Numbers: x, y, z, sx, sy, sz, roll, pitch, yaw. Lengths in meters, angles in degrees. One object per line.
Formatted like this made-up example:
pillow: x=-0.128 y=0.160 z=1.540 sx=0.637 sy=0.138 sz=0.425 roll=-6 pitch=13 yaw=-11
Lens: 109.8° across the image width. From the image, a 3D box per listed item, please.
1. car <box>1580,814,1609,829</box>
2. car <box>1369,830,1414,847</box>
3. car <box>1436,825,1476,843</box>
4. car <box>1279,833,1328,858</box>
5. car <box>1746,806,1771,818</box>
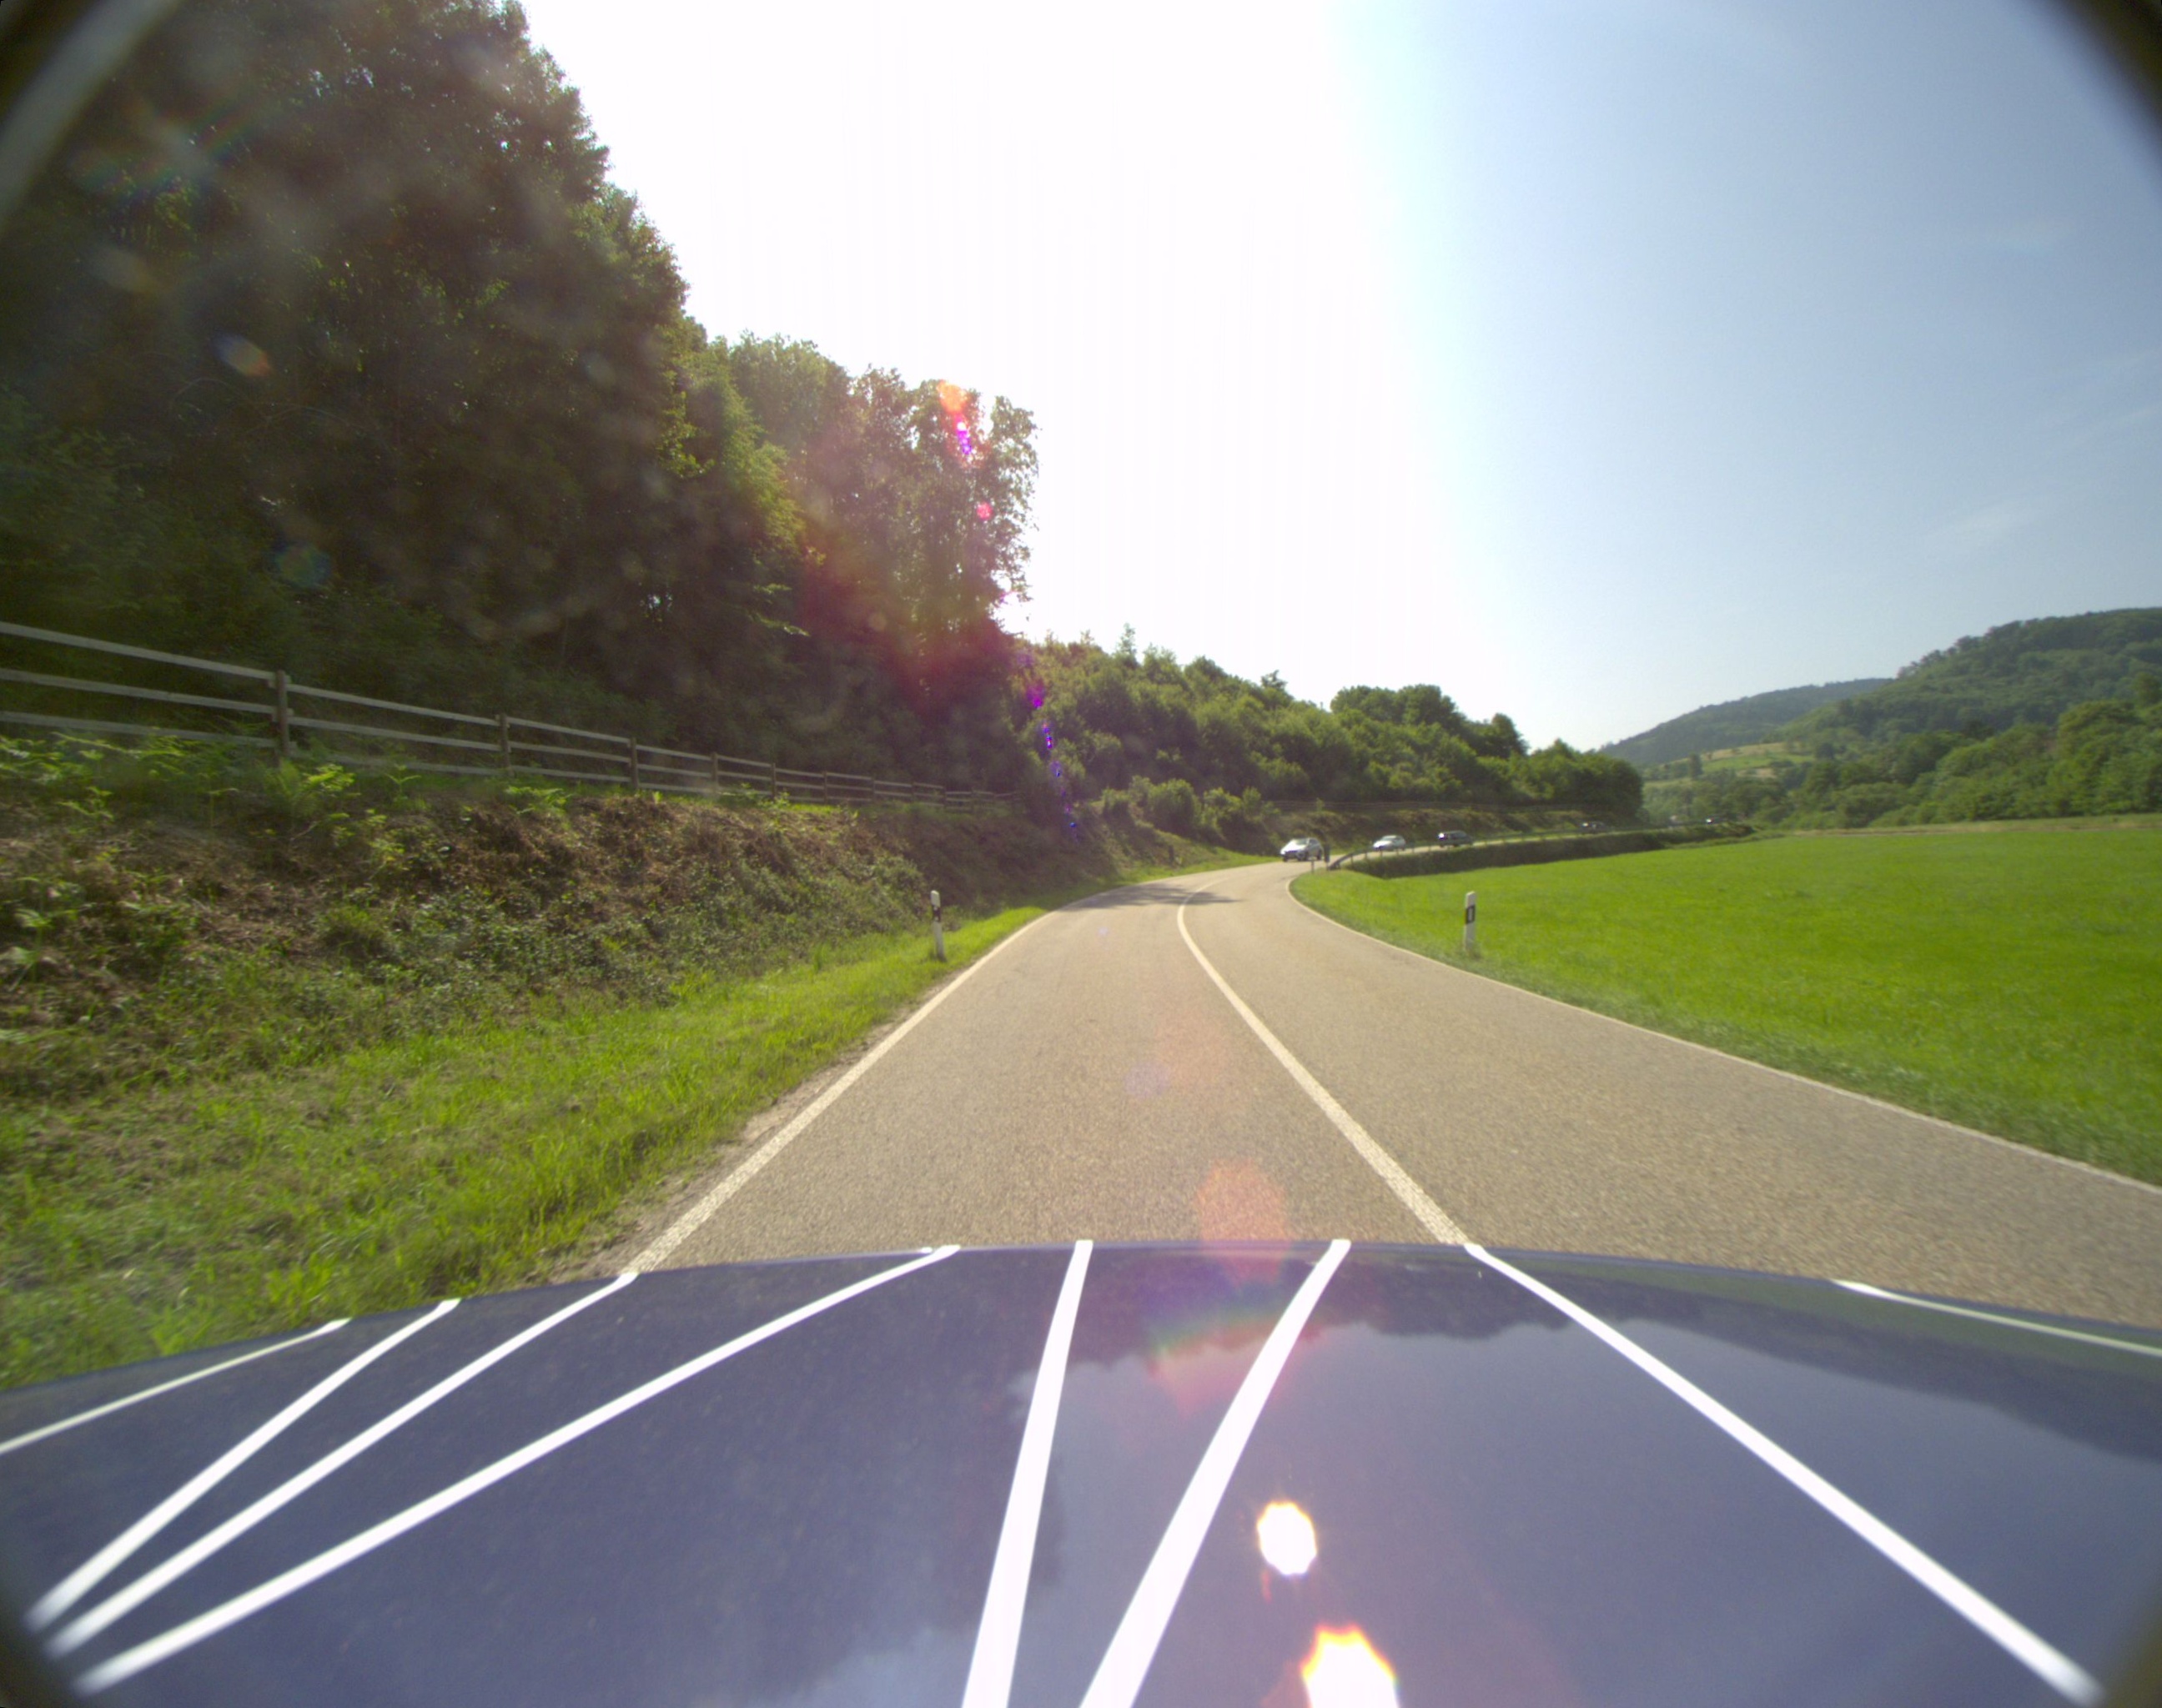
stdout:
car: x=63.073 y=-3.930 z=93.287 sx=4.905 sy=1.730 sz=1.950 roll=-2 pitch=1 yaw=-43
car: x=29.896 y=-1.485 z=73.088 sx=4.681 sy=1.482 sz=2.142 roll=-2 pitch=0 yaw=-43
car: x=37.475 y=-2.010 z=75.883 sx=4.604 sy=1.577 sz=1.877 roll=-2 pitch=-1 yaw=-41
car: x=17.640 y=-0.694 z=60.068 sx=2.114 sy=1.803 sz=4.464 roll=-3 pitch=-1 yaw=39
car: x=107.676 y=-6.660 z=120.711 sx=4.005 sy=1.665 sz=1.710 roll=-3 pitch=-1 yaw=-29
